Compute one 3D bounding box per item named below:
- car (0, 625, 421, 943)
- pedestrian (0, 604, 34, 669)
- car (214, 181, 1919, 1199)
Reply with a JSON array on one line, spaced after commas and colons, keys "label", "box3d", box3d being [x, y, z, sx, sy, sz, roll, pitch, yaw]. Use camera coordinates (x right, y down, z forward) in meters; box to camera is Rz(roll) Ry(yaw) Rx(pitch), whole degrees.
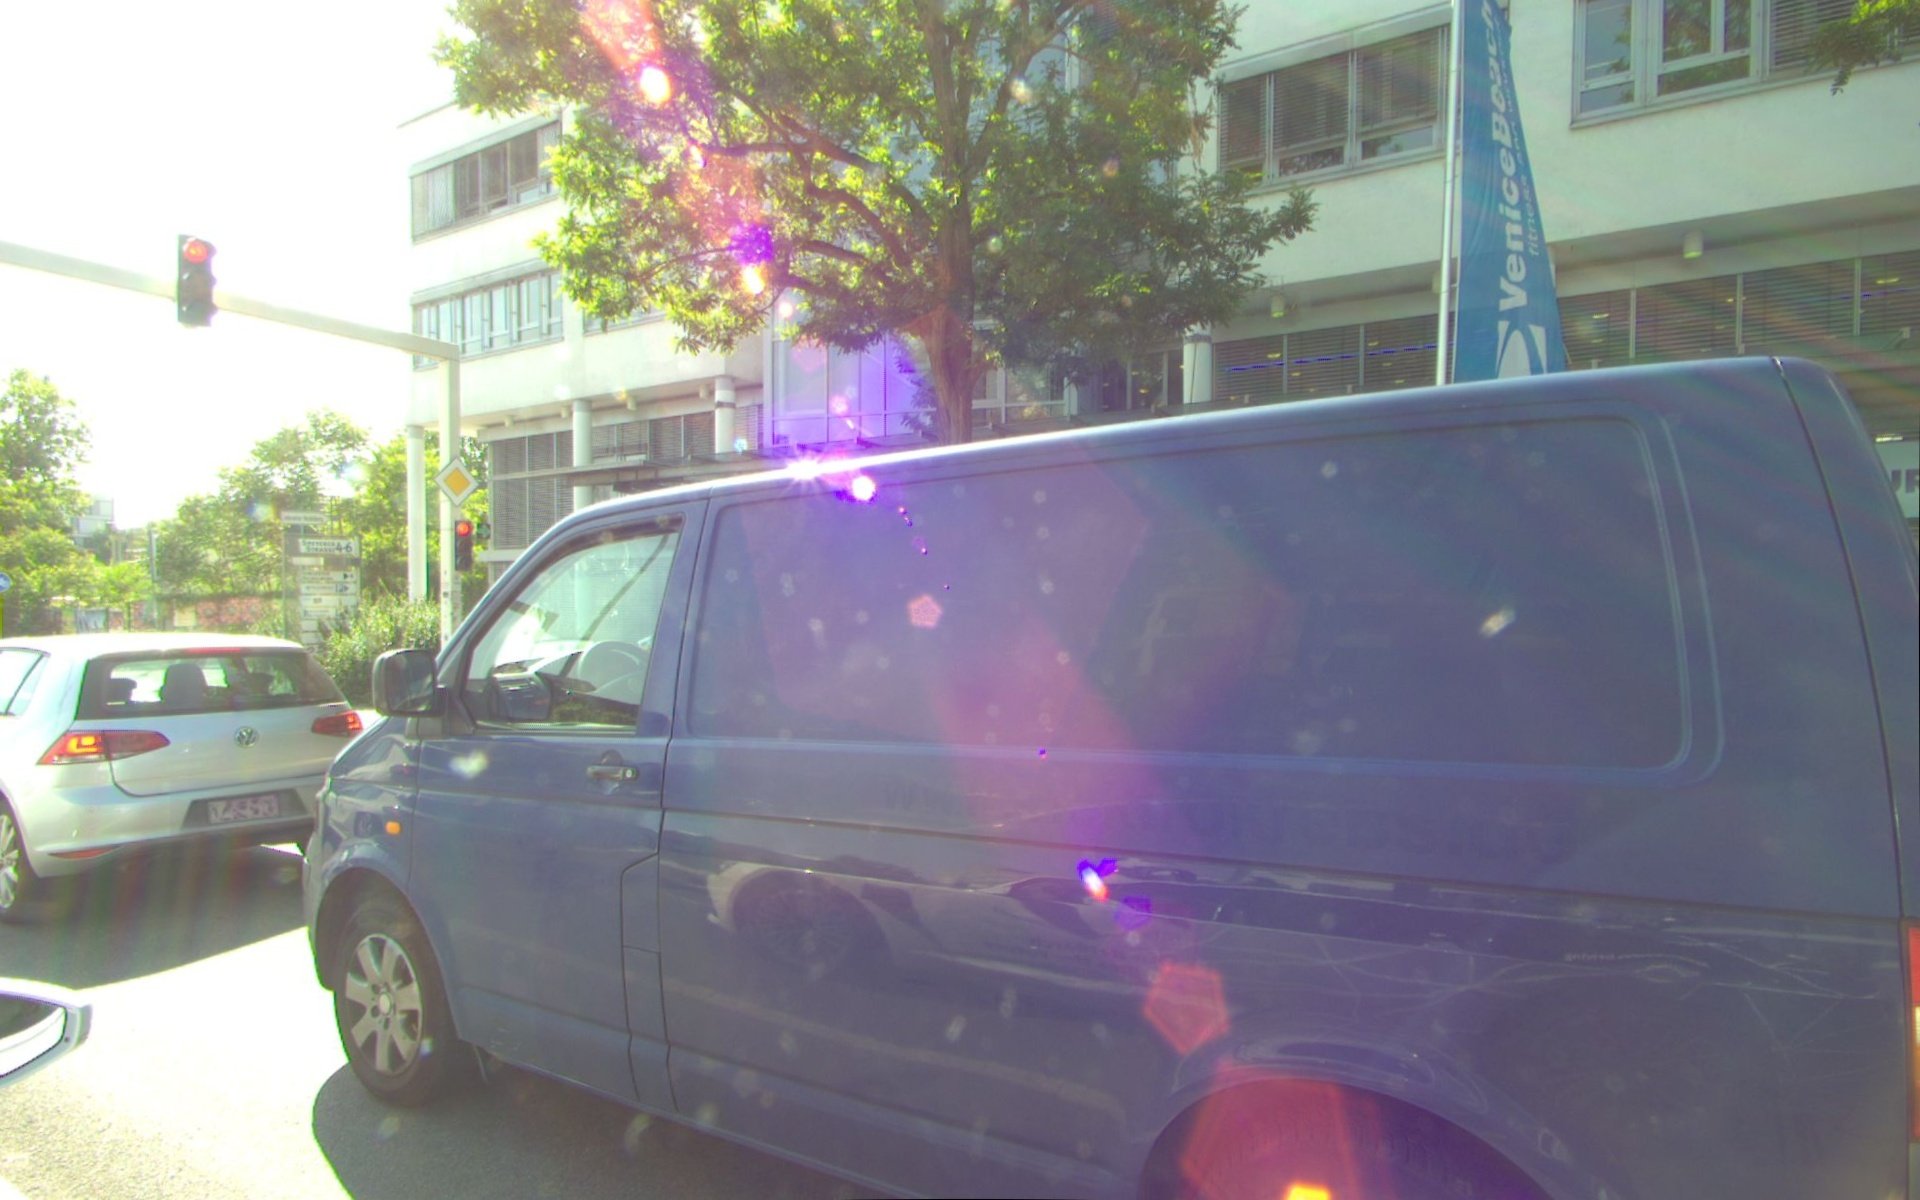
[{"label": "car", "box3d": [-5.494, 0.920, 6.466, 3.942, 1.448, 1.804, -1, -1, 31]}, {"label": "pedestrian", "box3d": [-30.230, 1.144, 31.741, 1.023, 2.040, 1.025, 0, 0, 32]}, {"label": "car", "box3d": [-0.123, 0.540, 3.174, 4.821, 1.973, 1.989, -1, -1, 32]}]
